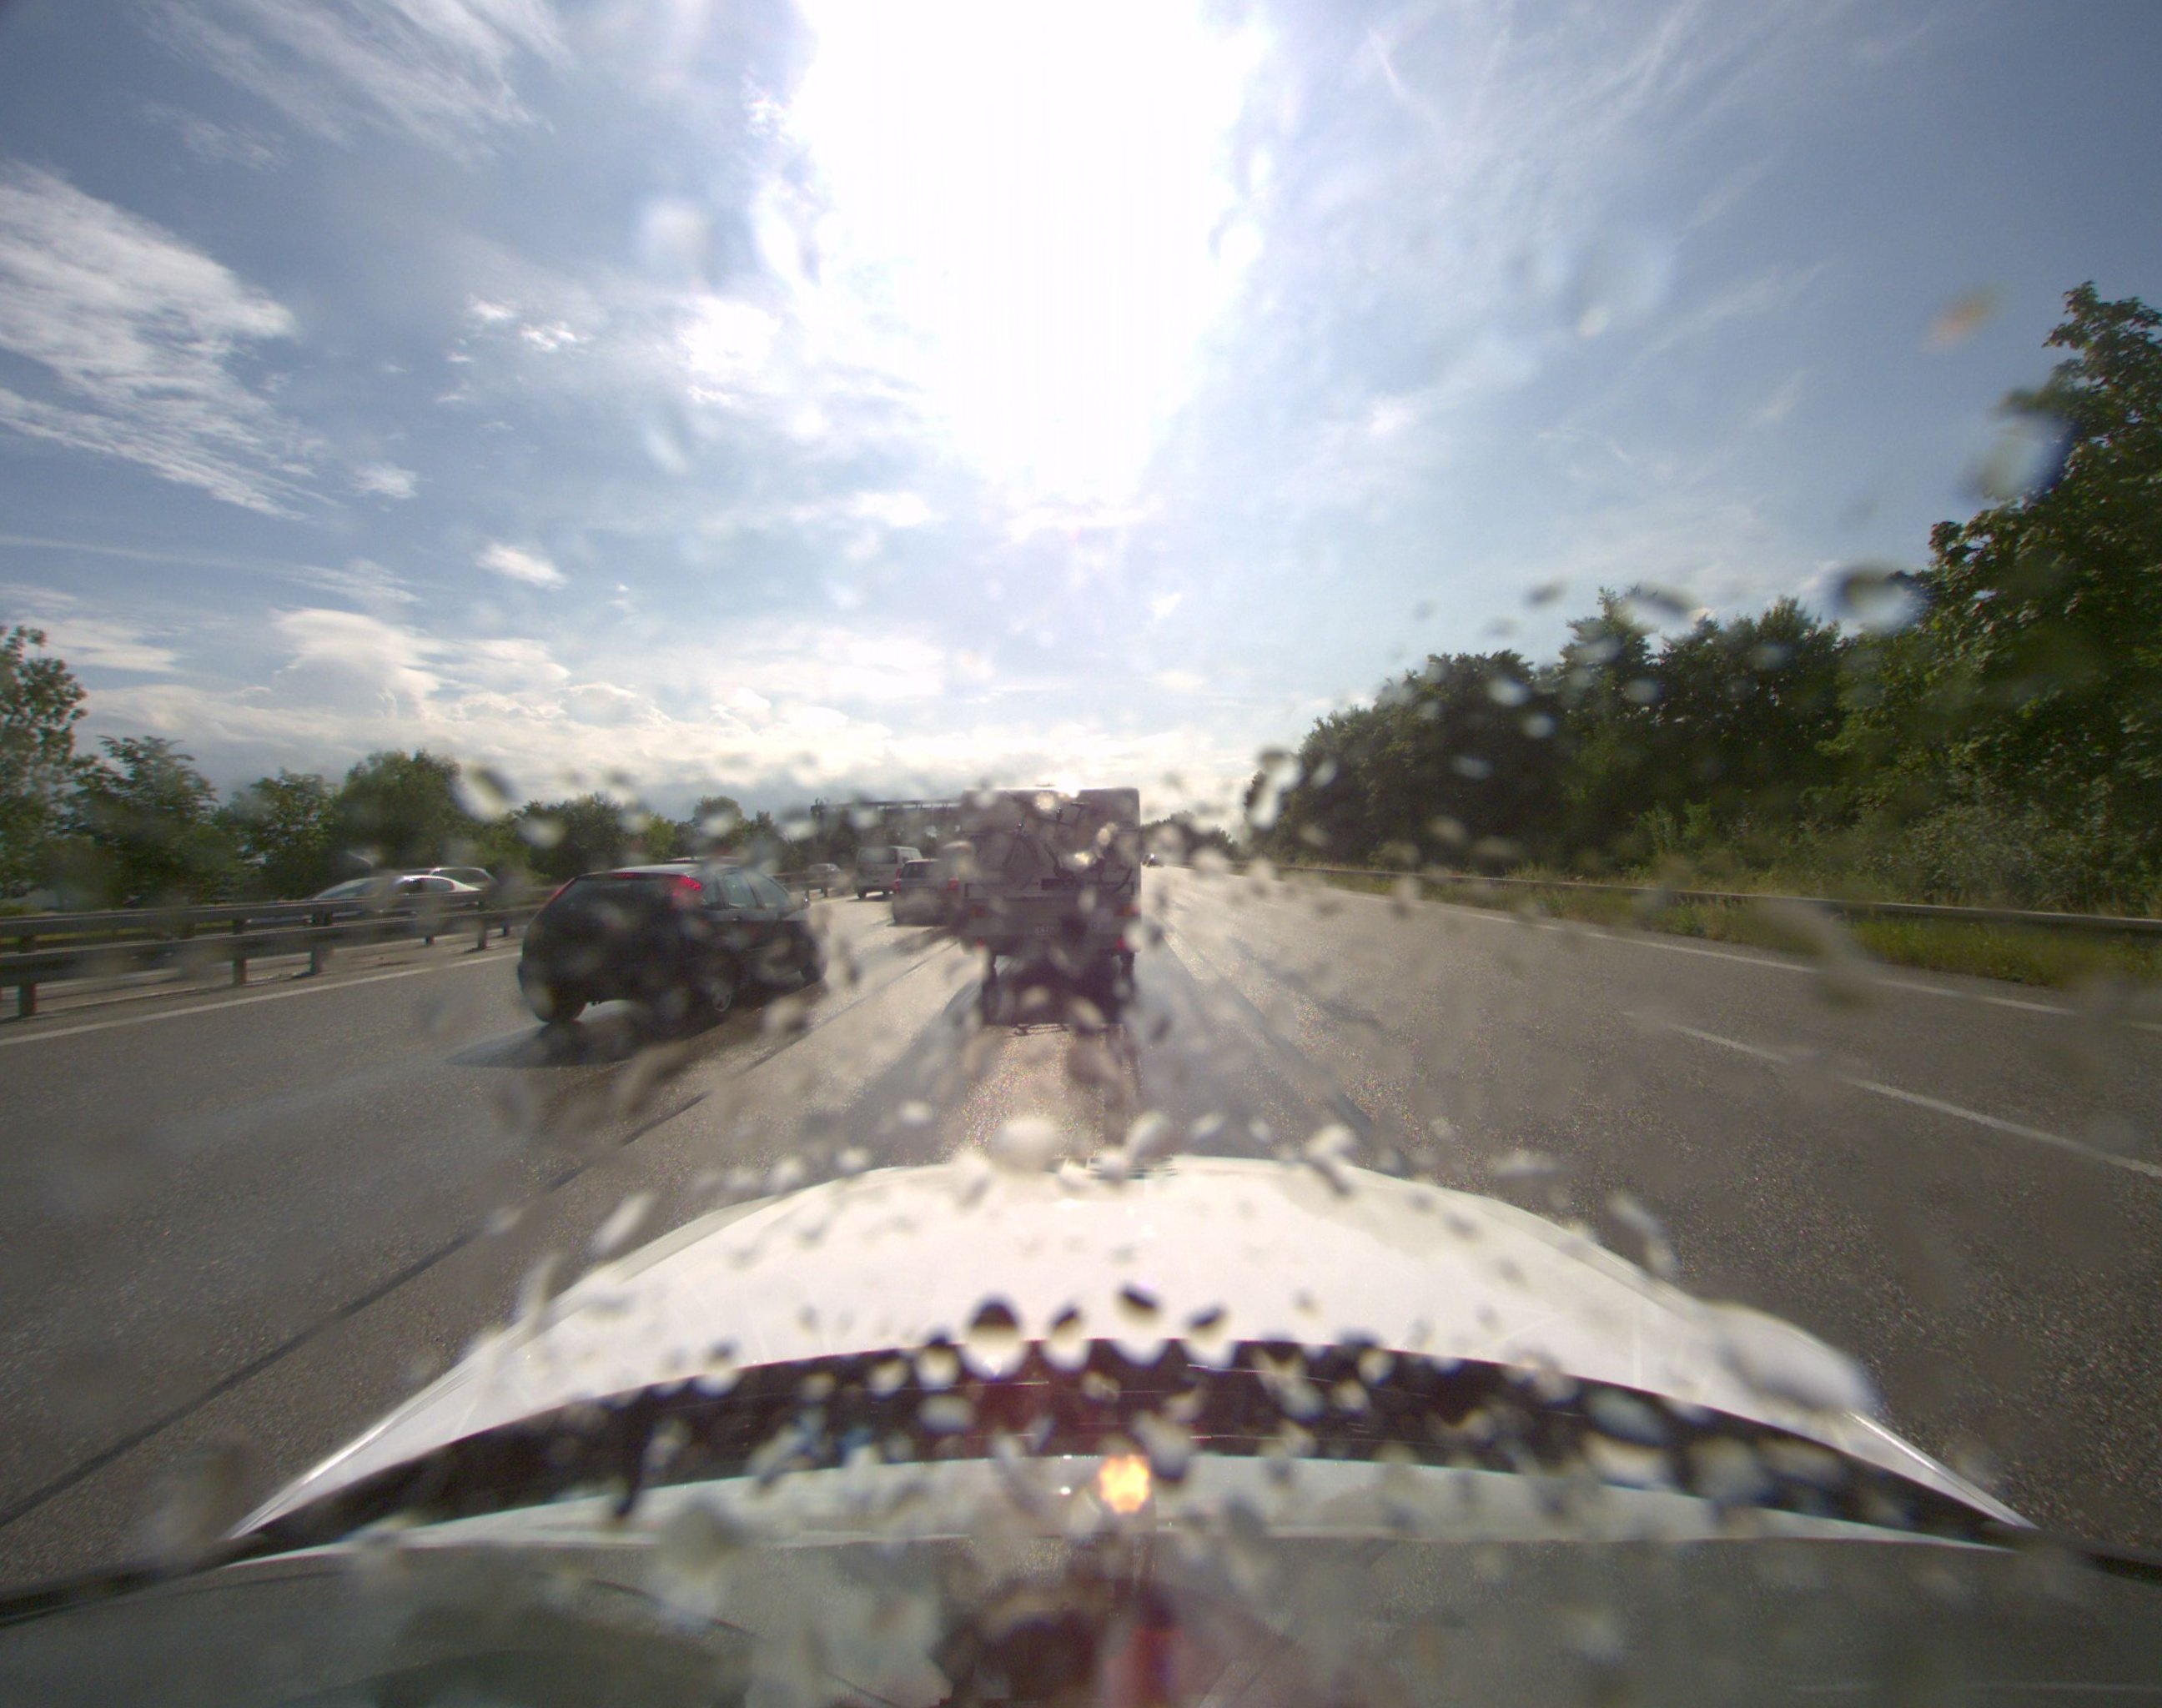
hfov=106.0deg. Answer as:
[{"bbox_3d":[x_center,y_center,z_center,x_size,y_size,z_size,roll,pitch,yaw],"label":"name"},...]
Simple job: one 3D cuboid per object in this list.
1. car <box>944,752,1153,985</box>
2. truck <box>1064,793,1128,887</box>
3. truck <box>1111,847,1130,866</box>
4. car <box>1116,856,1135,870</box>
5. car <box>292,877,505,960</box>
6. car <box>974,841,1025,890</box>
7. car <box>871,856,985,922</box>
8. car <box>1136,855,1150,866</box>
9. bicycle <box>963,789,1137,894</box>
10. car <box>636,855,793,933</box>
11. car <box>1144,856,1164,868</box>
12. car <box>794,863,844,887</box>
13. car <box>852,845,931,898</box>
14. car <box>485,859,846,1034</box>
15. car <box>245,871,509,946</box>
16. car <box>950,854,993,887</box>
[{"bbox_3d":[-0.298,0.179,11.428,2.401,2.674,4.002,-1,0,2],"label":"car"},{"bbox_3d":[0.805,-0.686,45.870,3.135,4.626,10.735,-1,0,0],"label":"truck"},{"bbox_3d":[5.355,0.374,111.091,2.406,2.443,6.056,-1,0,2],"label":"truck"},{"bbox_3d":[5.094,0.980,93.942,1.830,1.558,3.998,0,0,-1],"label":"car"},{"bbox_3d":[-19.479,1.746,23.646,1.845,2.014,5.078,-1,0,1],"label":"car"},{"bbox_3d":[-3.542,0.481,35.902,1.871,2.014,3.998,0,0,-1],"label":"car"},{"bbox_3d":[-3.735,0.811,20.585,1.980,1.458,3.828,-1,0,2],"label":"car"},{"bbox_3d":[8.974,0.928,118.427,1.869,1.629,4.002,-1,0,2],"label":"car"},{"bbox_3d":[-0.335,-0.136,9.227,1.926,1.141,0.384,-1,-1,2],"label":"bicycle"},{"bbox_3d":[-8.330,0.837,18.941,1.777,1.578,3.917,-1,0,1],"label":"car"},{"bbox_3d":[8.932,0.986,100.171,1.872,1.494,3.996,0,0,-2],"label":"car"},{"bbox_3d":[-16.158,1.275,50.383,1.856,1.391,3.998,0,0,-1],"label":"car"},{"bbox_3d":[-7.400,0.638,32.269,1.841,1.934,5.017,-1,0,1],"label":"car"},{"bbox_3d":[-4.116,0.801,8.924,1.752,1.443,4.002,-1,0,2],"label":"car"},{"bbox_3d":[-15.405,1.116,18.231,1.860,1.354,4.496,-1,0,2],"label":"car"},{"bbox_3d":[-5.732,0.834,43.022,1.766,1.662,3.998,0,0,-1],"label":"car"}]
